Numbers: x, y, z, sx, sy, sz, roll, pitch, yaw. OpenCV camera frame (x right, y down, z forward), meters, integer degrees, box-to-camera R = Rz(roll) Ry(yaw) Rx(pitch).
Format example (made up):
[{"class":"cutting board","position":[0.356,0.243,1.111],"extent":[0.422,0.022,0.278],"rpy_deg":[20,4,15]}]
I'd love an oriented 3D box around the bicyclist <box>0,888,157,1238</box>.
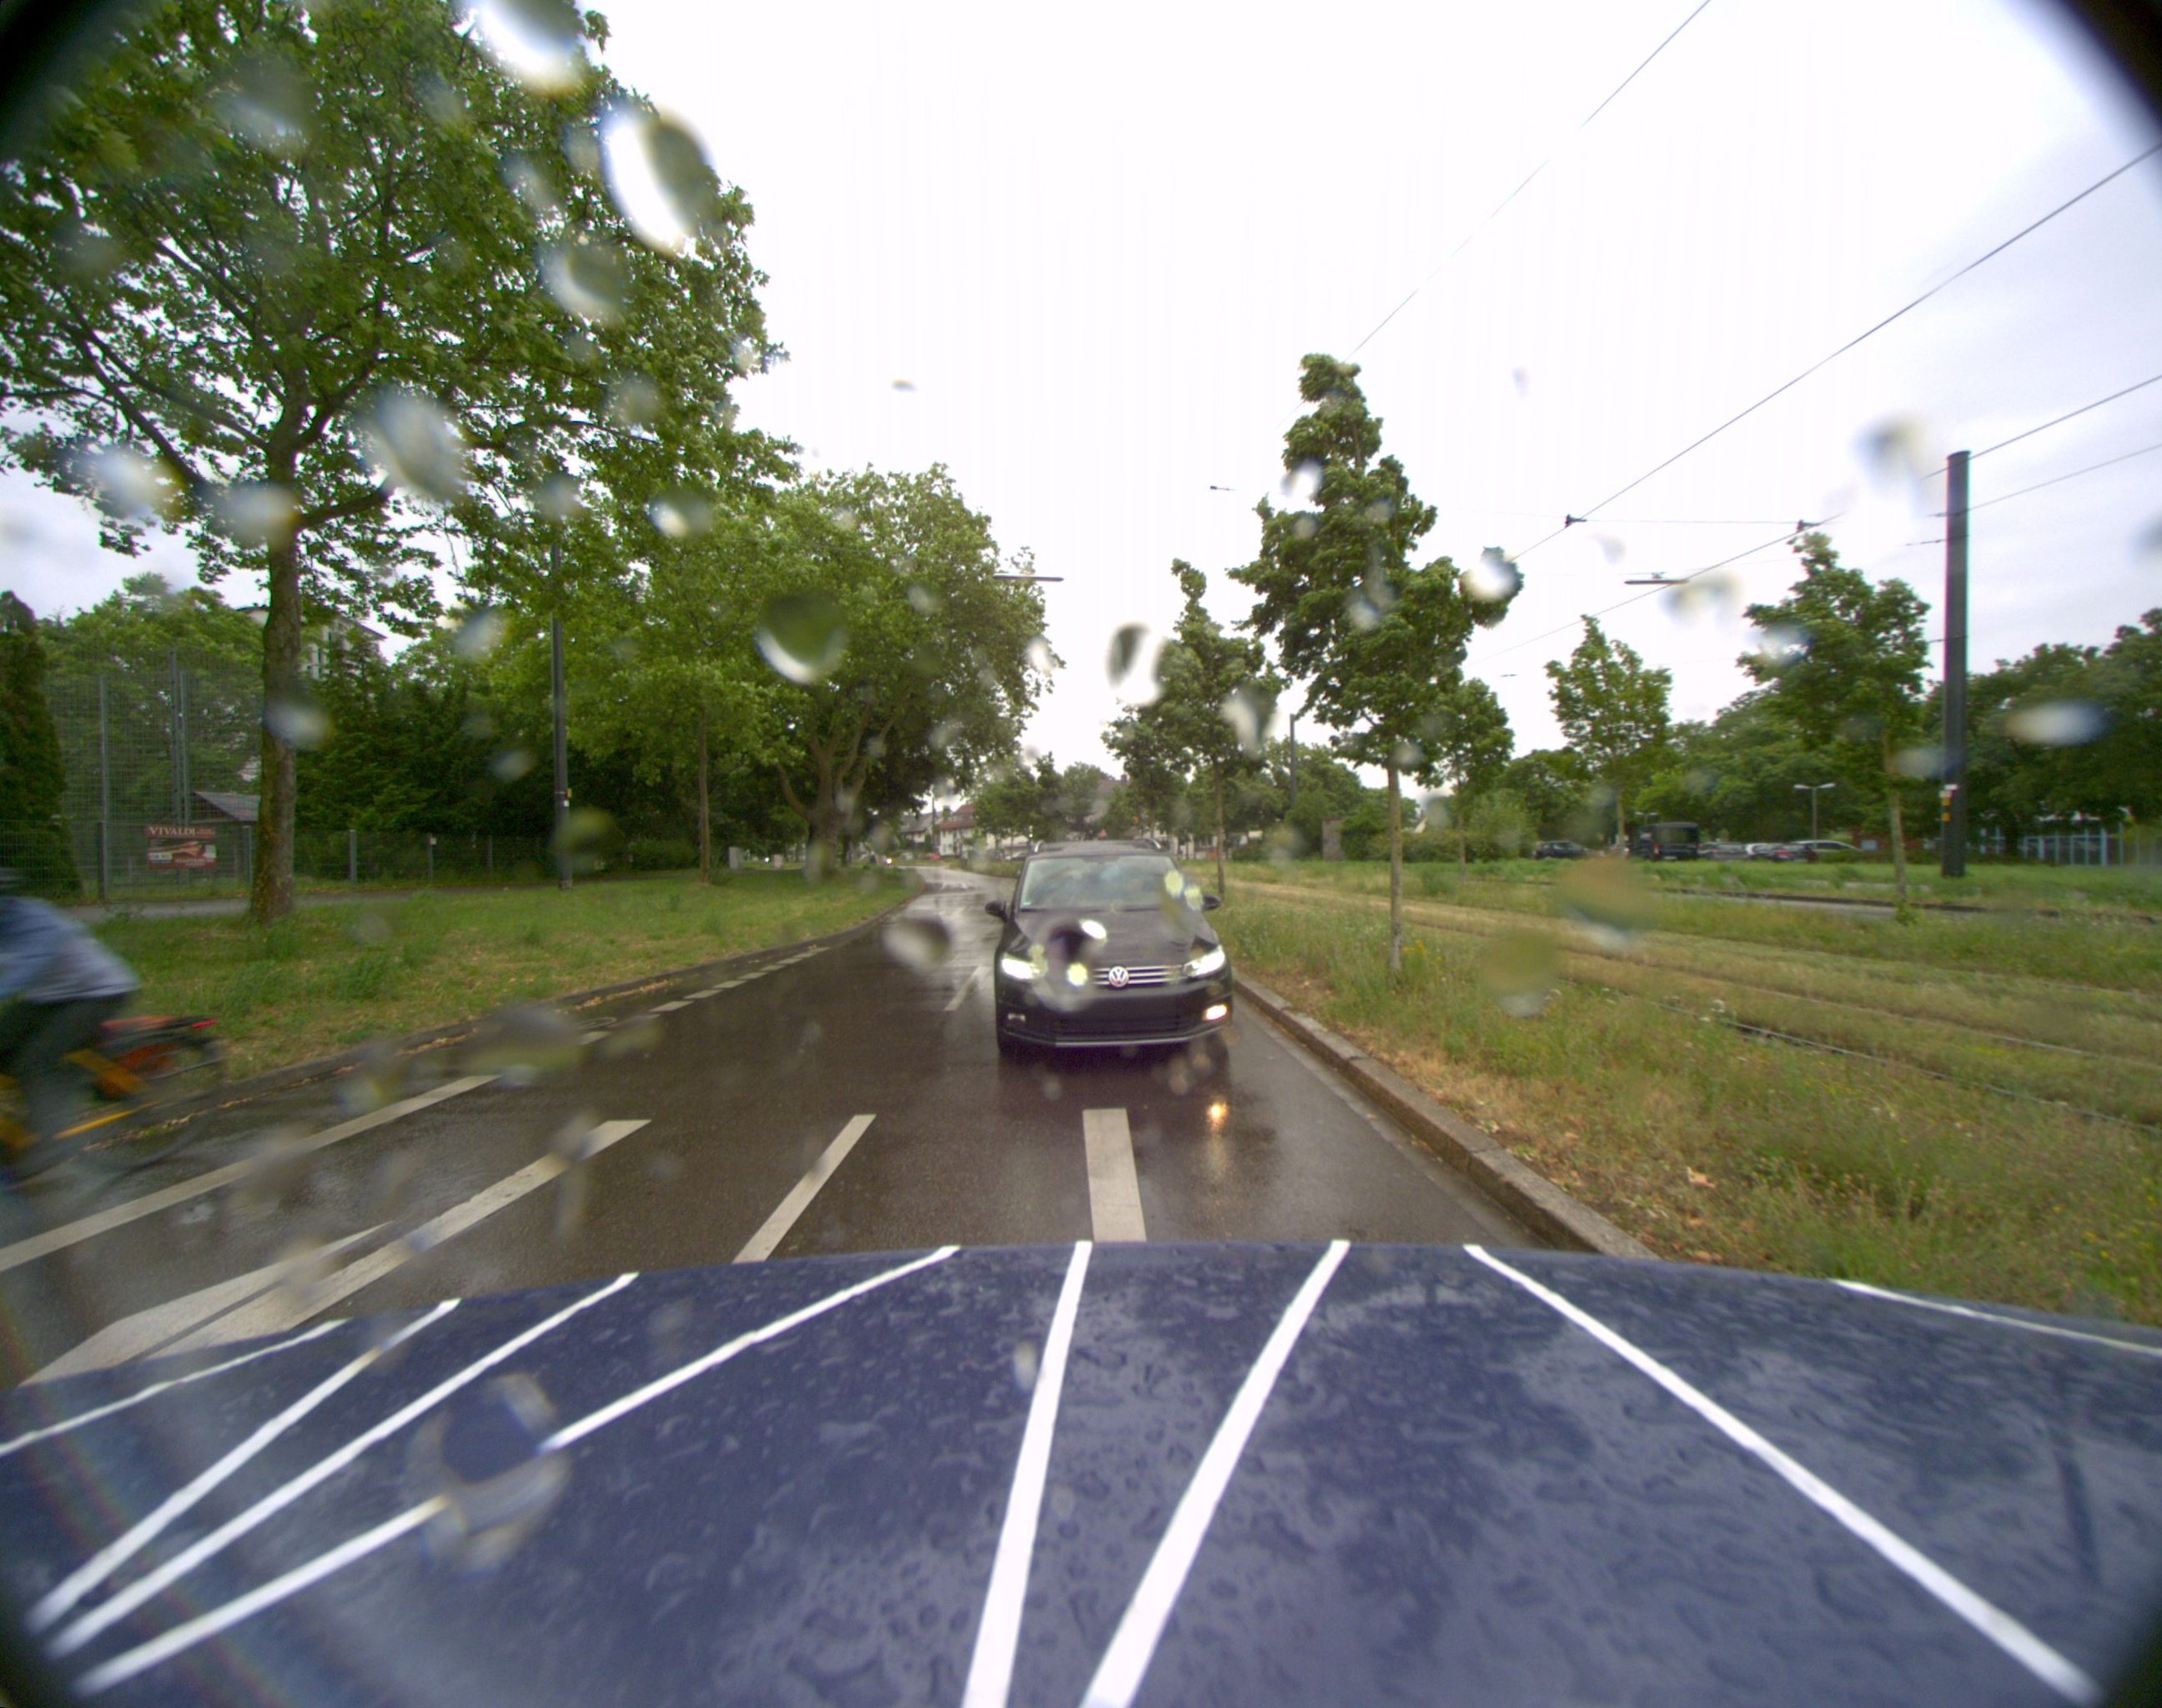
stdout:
[{"class":"bicyclist","position":[-5.099,0.942,3.441],"extent":[0.692,1.497,0.844],"rpy_deg":[-2,2,0]}]

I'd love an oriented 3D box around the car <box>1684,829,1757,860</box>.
[{"class":"car","position":[34.633,-0.544,41.290],"extent":[1.752,1.522,4.856],"rpy_deg":[-2,1,24]}]

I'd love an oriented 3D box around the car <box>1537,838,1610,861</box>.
[{"class":"car","position":[34.787,-0.296,53.815],"extent":[4.172,1.474,1.786],"rpy_deg":[-2,1,27]}]

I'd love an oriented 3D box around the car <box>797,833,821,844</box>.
[{"class":"car","position":[-51.595,-2.981,143.982],"extent":[4.004,1.816,1.996],"rpy_deg":[-3,1,-24]}]

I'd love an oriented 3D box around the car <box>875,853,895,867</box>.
[{"class":"car","position":[-24.121,0.690,93.314],"extent":[1.875,1.608,3.802],"rpy_deg":[-3,1,-22]}]

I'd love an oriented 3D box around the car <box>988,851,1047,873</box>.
[{"class":"car","position":[-4.662,0.558,55.588],"extent":[4.046,1.412,1.674],"rpy_deg":[-2,1,-10]}]

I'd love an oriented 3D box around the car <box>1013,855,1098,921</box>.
[{"class":"car","position":[-0.736,0.765,19.070],"extent":[1.789,1.396,3.791],"rpy_deg":[-2,1,-6]}]

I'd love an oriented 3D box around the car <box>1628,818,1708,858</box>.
[{"class":"car","position":[31.993,-0.887,41.607],"extent":[2.307,2.002,5.125],"rpy_deg":[-2,1,24]}]

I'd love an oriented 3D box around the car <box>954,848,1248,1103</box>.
[{"class":"car","position":[0.156,0.778,7.229],"extent":[1.866,1.592,4.524],"rpy_deg":[-2,1,1]}]

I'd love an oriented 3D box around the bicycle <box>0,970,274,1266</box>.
[{"class":"bicycle","position":[-5.092,1.257,3.488],"extent":[0.692,1.110,1.884],"rpy_deg":[-2,1,0]}]

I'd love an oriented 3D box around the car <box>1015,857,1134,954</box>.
[{"class":"car","position":[-0.160,0.802,13.716],"extent":[1.788,1.355,3.996],"rpy_deg":[-2,1,-2]}]

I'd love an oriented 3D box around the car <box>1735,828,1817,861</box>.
[{"class":"car","position":[36.543,-0.549,40.126],"extent":[2.057,1.564,5.024],"rpy_deg":[-2,1,29]}]
